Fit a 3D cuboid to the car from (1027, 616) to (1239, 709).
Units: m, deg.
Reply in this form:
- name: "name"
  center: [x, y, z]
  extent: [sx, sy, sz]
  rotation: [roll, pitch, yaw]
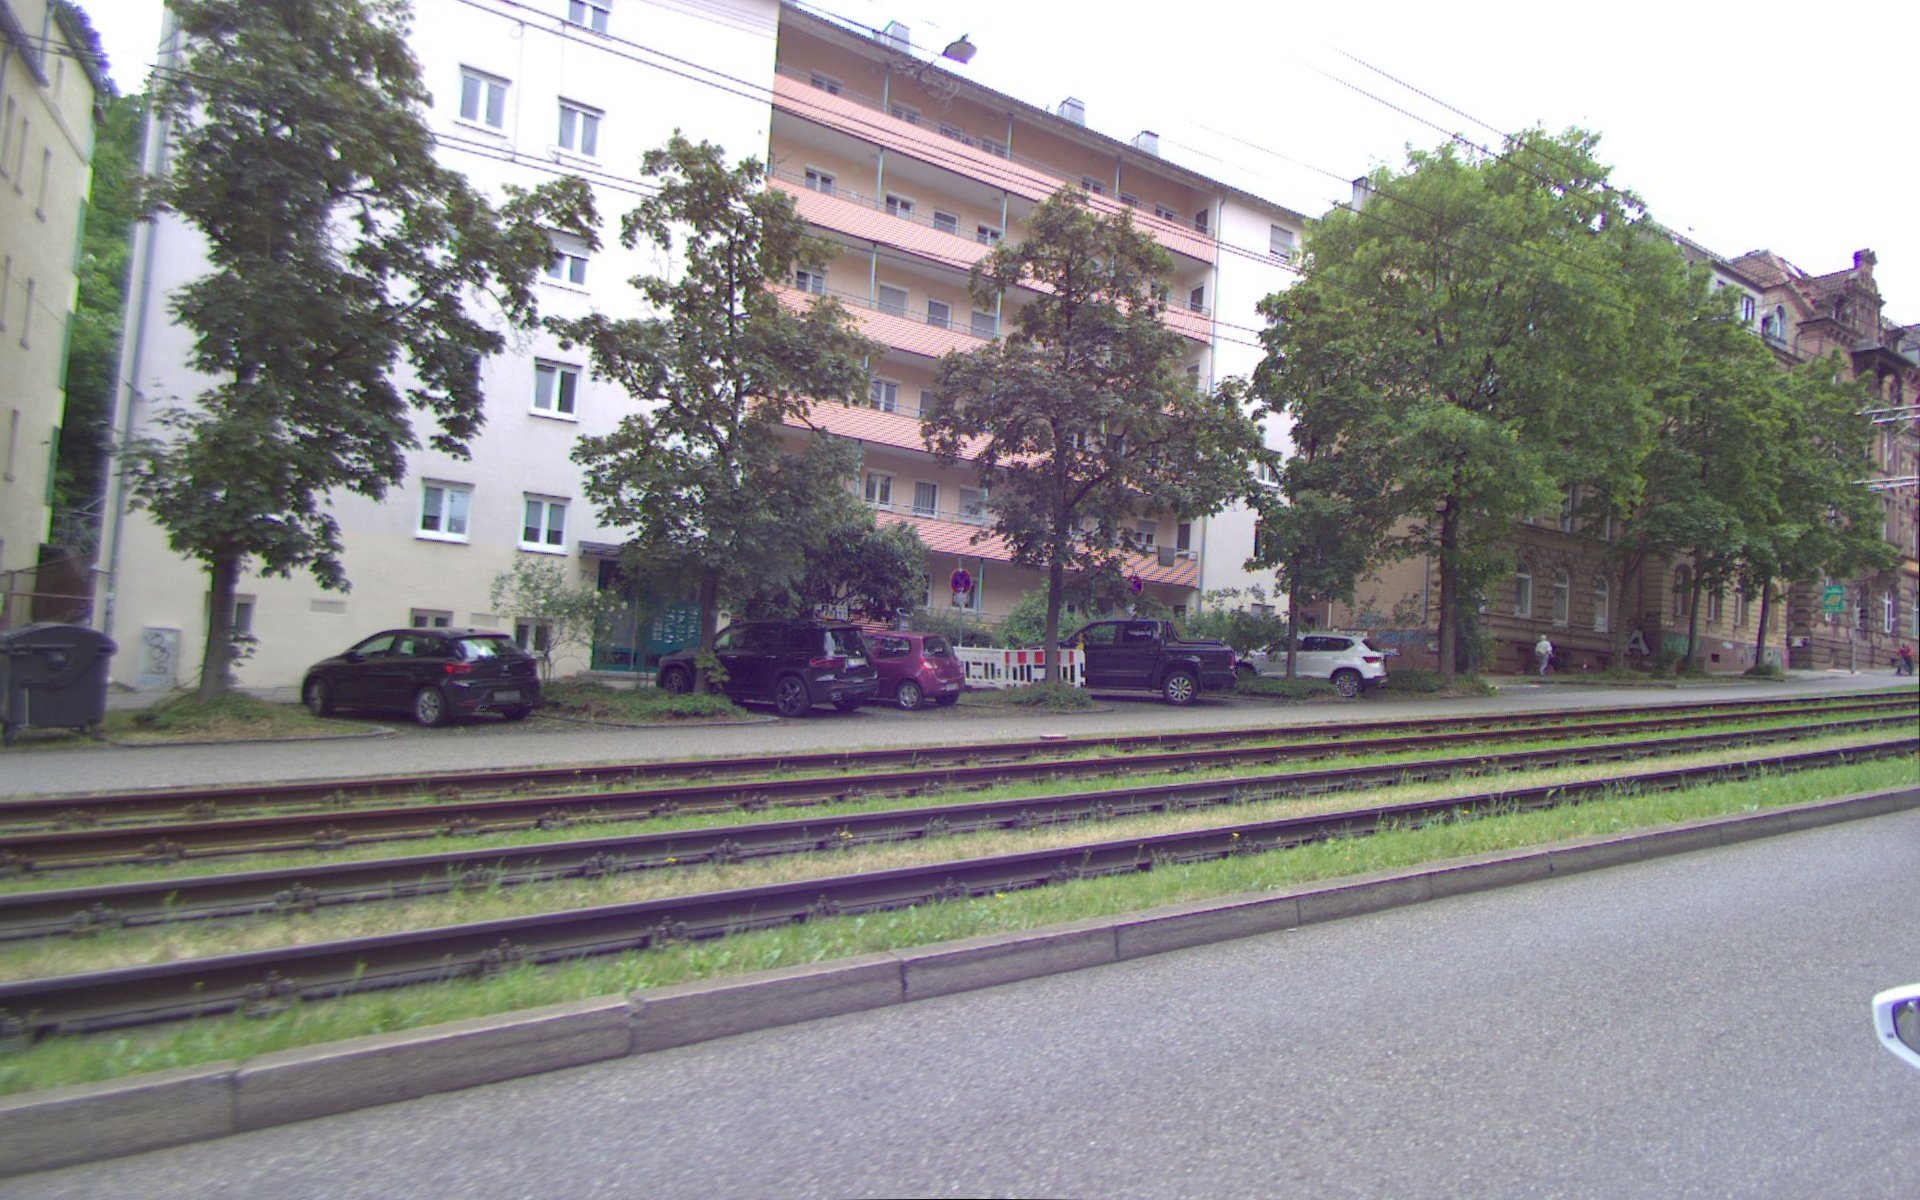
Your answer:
- name: "car"
  center: [3.950, 1.360, 22.878]
  extent: [4.514, 1.821, 1.937]
  rotation: [2, 0, 14]

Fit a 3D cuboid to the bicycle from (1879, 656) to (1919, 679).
- name: "bicycle"
  center: [47.853, 3.408, 51.036]
  extent: [2.671, 1.114, 0.934]
  rotation: [2, -2, -30]

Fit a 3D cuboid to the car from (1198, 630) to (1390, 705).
- name: "car"
  center: [8.743, 1.707, 26.363]
  extent: [4.522, 1.639, 1.934]
  rotation: [2, 0, 27]

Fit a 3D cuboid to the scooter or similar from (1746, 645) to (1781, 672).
- name: "scooter or similar"
  center: [38.435, 2.804, 48.047]
  extent: [2.191, 1.271, 0.626]
  rotation: [2, -2, -32]

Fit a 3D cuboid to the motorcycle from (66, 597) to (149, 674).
- name: "motorcycle"
  center: [-16.863, 0.696, 19.933]
  extent: [0.759, 1.436, 2.167]
  rotation: [1, -2, -27]

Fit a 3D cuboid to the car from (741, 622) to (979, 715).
- name: "car"
  center: [-2.072, 1.321, 20.604]
  extent: [4.523, 1.569, 1.934]
  rotation: [2, 0, 28]

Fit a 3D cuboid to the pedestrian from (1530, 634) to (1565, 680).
- name: "pedestrian"
  center: [22.297, 2.163, 38.141]
  extent: [0.839, 1.706, 0.827]
  rotation: [2, -3, -31]

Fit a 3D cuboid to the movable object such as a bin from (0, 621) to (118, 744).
- name: "movable object such as a bin"
  center: [-11.351, 0.989, 12.589]
  extent: [1.261, 1.419, 1.089]
  rotation: [1, -1, 45]

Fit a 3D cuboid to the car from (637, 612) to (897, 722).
- name: "car"
  center: [-3.627, 1.151, 18.718]
  extent: [4.523, 1.704, 1.934]
  rotation: [2, 0, 28]

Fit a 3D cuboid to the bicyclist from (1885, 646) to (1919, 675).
- name: "bicyclist"
  center: [47.889, 3.078, 51.073]
  extent: [1.174, 1.444, 0.934]
  rotation: [2, -2, -30]

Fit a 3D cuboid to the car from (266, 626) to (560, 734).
- name: "car"
  center: [-8.779, 1.174, 16.061]
  extent: [4.523, 1.362, 1.934]
  rotation: [2, 0, 28]

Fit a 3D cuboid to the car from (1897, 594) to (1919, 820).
- name: "car"
  center: [9.565, 0.878, 7.973]
  extent: [4.615, 1.689, 1.827]
  rotation: [2, -1, -30]
